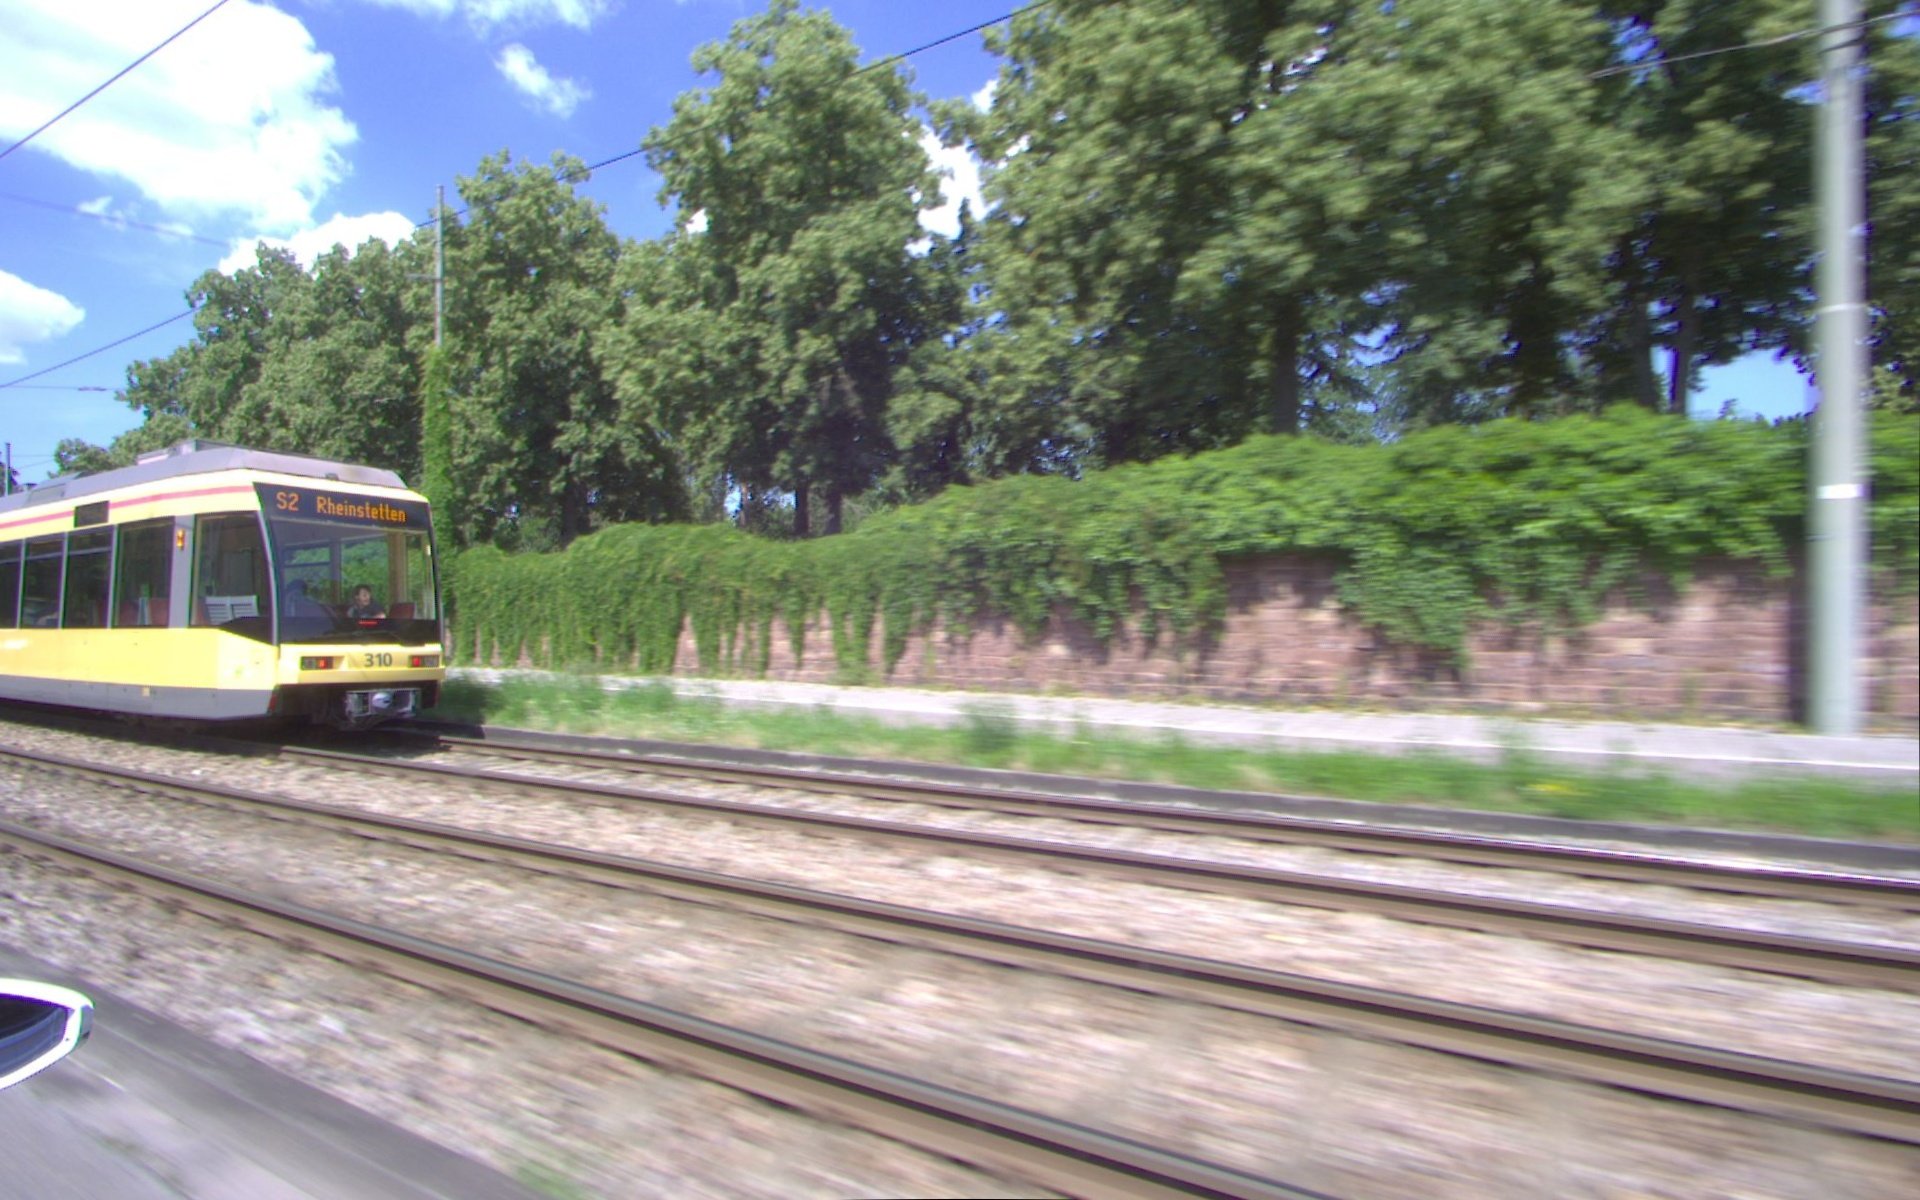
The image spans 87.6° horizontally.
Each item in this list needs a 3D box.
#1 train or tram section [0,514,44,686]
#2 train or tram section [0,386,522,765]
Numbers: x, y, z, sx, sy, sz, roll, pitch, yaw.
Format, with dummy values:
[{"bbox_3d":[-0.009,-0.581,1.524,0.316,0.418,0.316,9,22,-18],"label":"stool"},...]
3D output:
[{"bbox_3d":[-29.458,0.089,26.962,20.012,3.739,2.936,-1,-2,35],"label":"train or tram section"},{"bbox_3d":[-13.779,-0.108,16.144,18.131,3.739,2.938,-1,-2,34],"label":"train or tram section"}]
